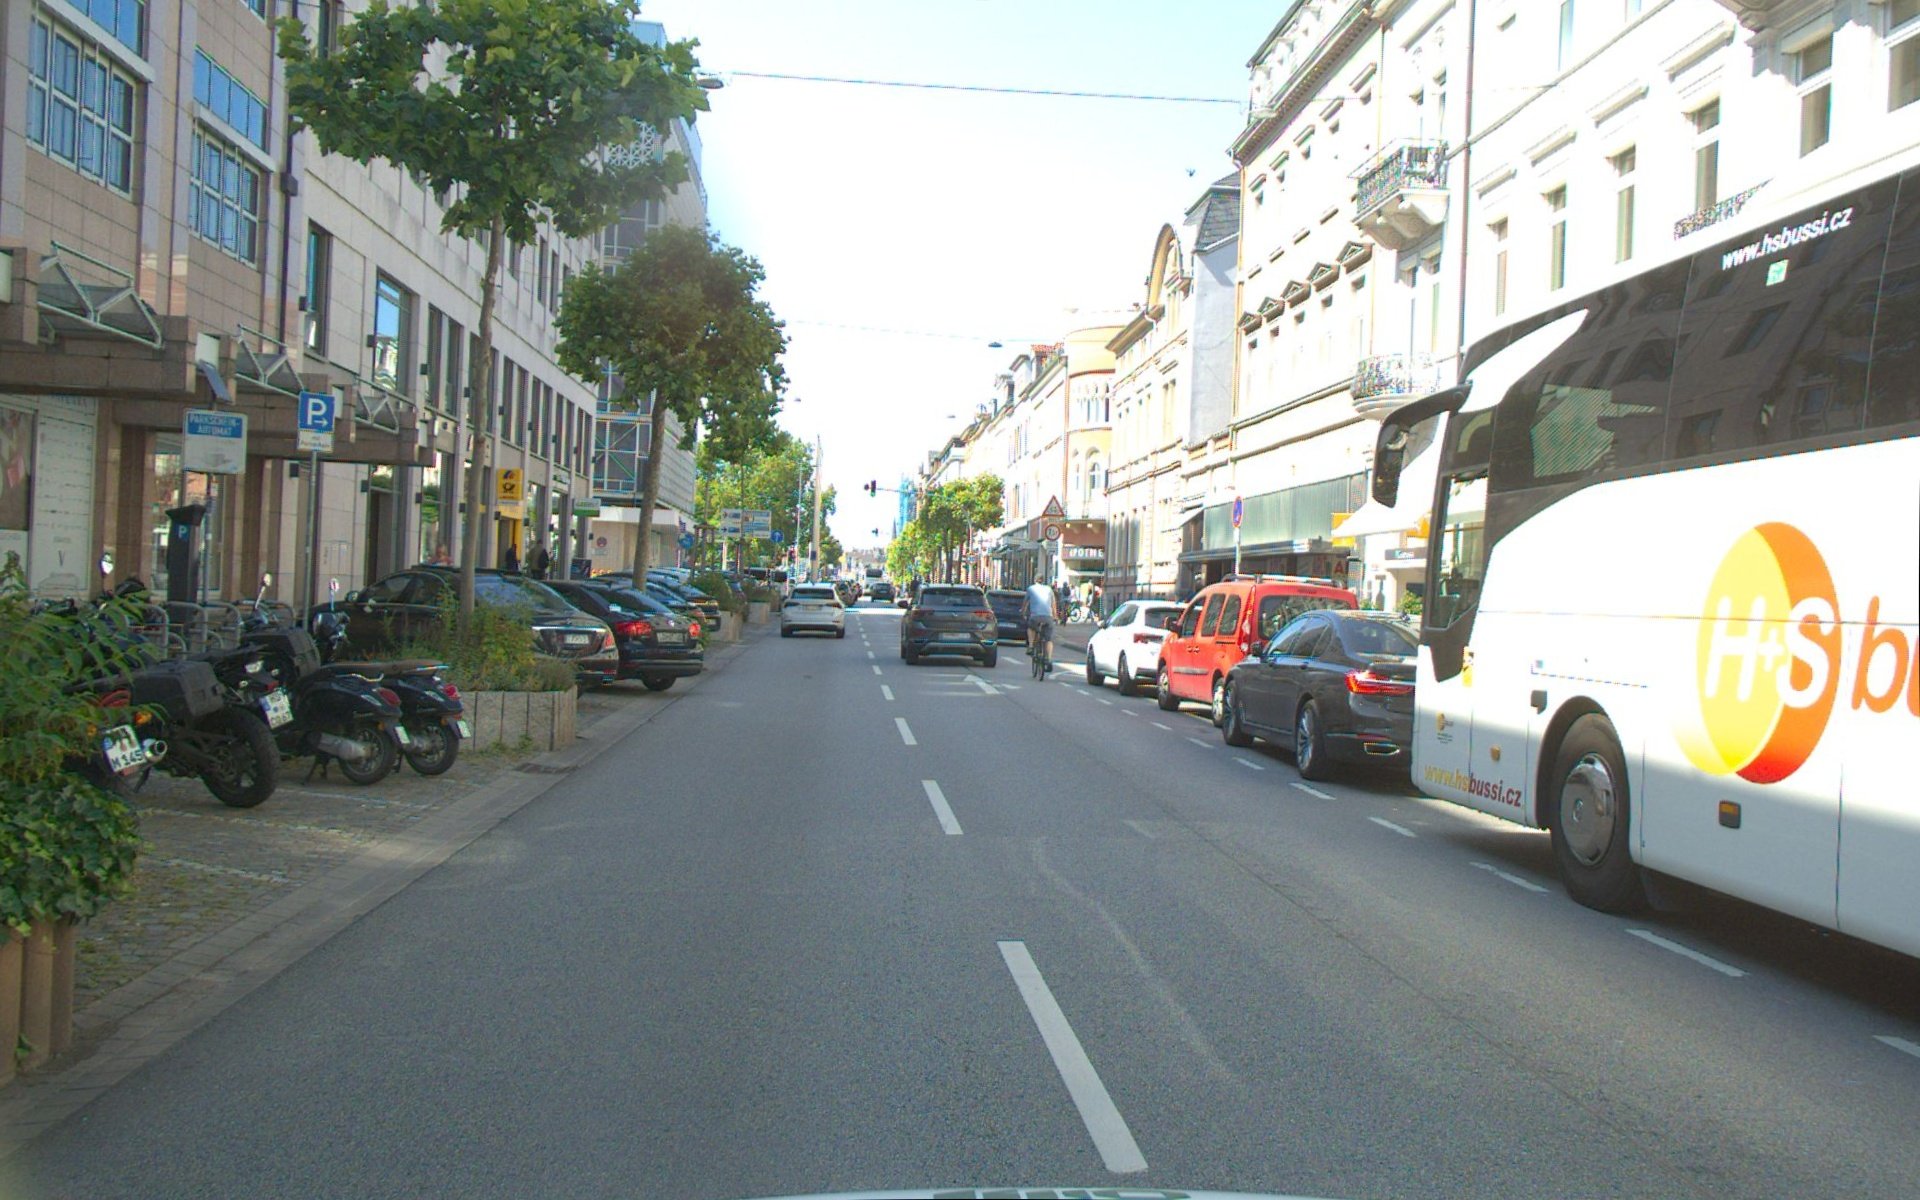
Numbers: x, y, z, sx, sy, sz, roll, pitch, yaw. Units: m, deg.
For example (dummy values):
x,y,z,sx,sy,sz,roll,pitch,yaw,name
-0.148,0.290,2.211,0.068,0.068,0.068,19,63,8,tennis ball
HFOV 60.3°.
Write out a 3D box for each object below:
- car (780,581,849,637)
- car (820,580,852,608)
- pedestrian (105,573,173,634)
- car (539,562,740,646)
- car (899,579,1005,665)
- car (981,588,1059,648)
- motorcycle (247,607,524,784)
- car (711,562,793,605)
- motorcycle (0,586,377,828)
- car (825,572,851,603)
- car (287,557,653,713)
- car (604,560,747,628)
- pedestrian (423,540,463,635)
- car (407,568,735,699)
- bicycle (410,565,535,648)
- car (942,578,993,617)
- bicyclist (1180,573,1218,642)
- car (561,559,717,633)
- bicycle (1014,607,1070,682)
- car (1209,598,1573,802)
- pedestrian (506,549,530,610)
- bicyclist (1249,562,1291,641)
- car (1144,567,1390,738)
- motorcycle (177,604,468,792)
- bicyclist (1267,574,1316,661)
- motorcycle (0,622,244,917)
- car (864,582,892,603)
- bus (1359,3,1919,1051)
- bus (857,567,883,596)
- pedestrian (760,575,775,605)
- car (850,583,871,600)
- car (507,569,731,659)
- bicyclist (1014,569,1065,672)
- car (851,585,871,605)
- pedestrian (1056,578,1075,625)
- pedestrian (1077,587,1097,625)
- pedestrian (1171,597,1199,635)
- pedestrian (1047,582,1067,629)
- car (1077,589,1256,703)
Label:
x,y,z,sx,sy,sz,roll,pitch,yaw,name
-4.071,0.209,46.185,1.827,1.466,3.996,1,1,-5,car
-6.993,-0.353,92.970,1.709,1.466,3.996,2,1,-5,car
-12.061,0.042,24.307,0.555,0.822,0.773,7,0,-4,pedestrian
-7.410,0.089,38.204,4.258,1.539,1.831,5,1,26,car
-0.219,0.398,32.843,1.797,1.554,3.997,2,0,-4,car
1.640,0.481,46.195,1.786,1.433,3.185,5,1,-3,car
-4.401,0.698,12.689,1.870,1.190,0.761,3,1,16,motorcycle
-12.325,-0.984,98.020,4.632,2.038,1.934,6,0,36,car
-5.104,0.614,10.481,2.296,1.290,1.295,3,1,16,motorcycle
-9.027,-0.907,122.051,1.827,2.065,3.995,2,-1,-5,car
-6.129,0.374,20.423,4.667,1.560,1.981,4,1,38,car
-8.774,-0.181,50.999,3.908,1.595,1.700,7,0,21,car
-9.320,-0.222,29.819,0.555,1.686,0.635,2,0,-10,pedestrian
-5.577,0.427,23.432,4.703,1.447,1.876,4,1,36,car
-8.726,0.117,29.632,2.029,1.311,0.366,5,-1,-12,bicycle
0.265,-0.110,66.229,1.786,1.409,3.998,2,1,-3,car
5.760,0.184,39.873,0.695,1.623,0.963,2,0,-2,bicyclist
-8.606,-0.102,44.605,3.914,1.526,1.714,6,0,-8,car
1.400,0.750,28.705,0.651,1.139,2.242,4,1,-4,bicycle
3.901,0.814,16.031,1.822,1.495,5.222,4,0,-3,car
-15.043,-0.690,56.248,0.611,2.049,0.700,2,0,-3,pedestrian
6.549,0.022,34.933,0.644,1.623,0.920,2,0,-2,bicyclist
3.855,0.580,21.578,1.793,1.896,4.347,4,1,-8,car
-4.606,0.675,11.966,1.870,1.190,0.729,3,1,16,motorcycle
5.848,0.297,29.197,0.612,1.502,0.889,2,0,-2,bicyclist
-4.683,0.743,8.098,2.129,1.190,0.920,3,1,24,motorcycle
-5.943,-0.570,119.573,1.826,1.466,3.996,2,0,-5,car
4.904,-0.219,5.703,2.826,3.806,12.413,4,0,-5,bus
-11.758,-2.436,215.025,2.717,3.668,8.960,2,1,-7,bus
-10.578,-0.553,90.838,0.606,1.643,0.544,3,-2,-34,pedestrian
-9.517,-0.838,157.873,1.826,1.466,3.995,1,-2,-5,car
-6.845,0.258,32.986,4.566,1.432,1.897,5,1,40,car
1.369,0.345,28.575,0.681,1.702,0.915,4,1,-3,bicyclist
-9.441,-0.432,157.523,1.827,1.736,3.995,-2,-1,-5,car
4.233,0.062,66.197,0.638,1.840,0.729,2,0,-1,pedestrian
6.006,0.283,78.129,0.776,1.750,0.728,1,0,-9,pedestrian
7.679,0.547,56.464,0.917,1.291,0.568,0,0,2,pedestrian
4.052,0.238,69.120,0.694,1.932,1.152,2,0,-1,pedestrian
3.257,0.683,27.002,1.778,1.491,4.574,4,1,-7,car
